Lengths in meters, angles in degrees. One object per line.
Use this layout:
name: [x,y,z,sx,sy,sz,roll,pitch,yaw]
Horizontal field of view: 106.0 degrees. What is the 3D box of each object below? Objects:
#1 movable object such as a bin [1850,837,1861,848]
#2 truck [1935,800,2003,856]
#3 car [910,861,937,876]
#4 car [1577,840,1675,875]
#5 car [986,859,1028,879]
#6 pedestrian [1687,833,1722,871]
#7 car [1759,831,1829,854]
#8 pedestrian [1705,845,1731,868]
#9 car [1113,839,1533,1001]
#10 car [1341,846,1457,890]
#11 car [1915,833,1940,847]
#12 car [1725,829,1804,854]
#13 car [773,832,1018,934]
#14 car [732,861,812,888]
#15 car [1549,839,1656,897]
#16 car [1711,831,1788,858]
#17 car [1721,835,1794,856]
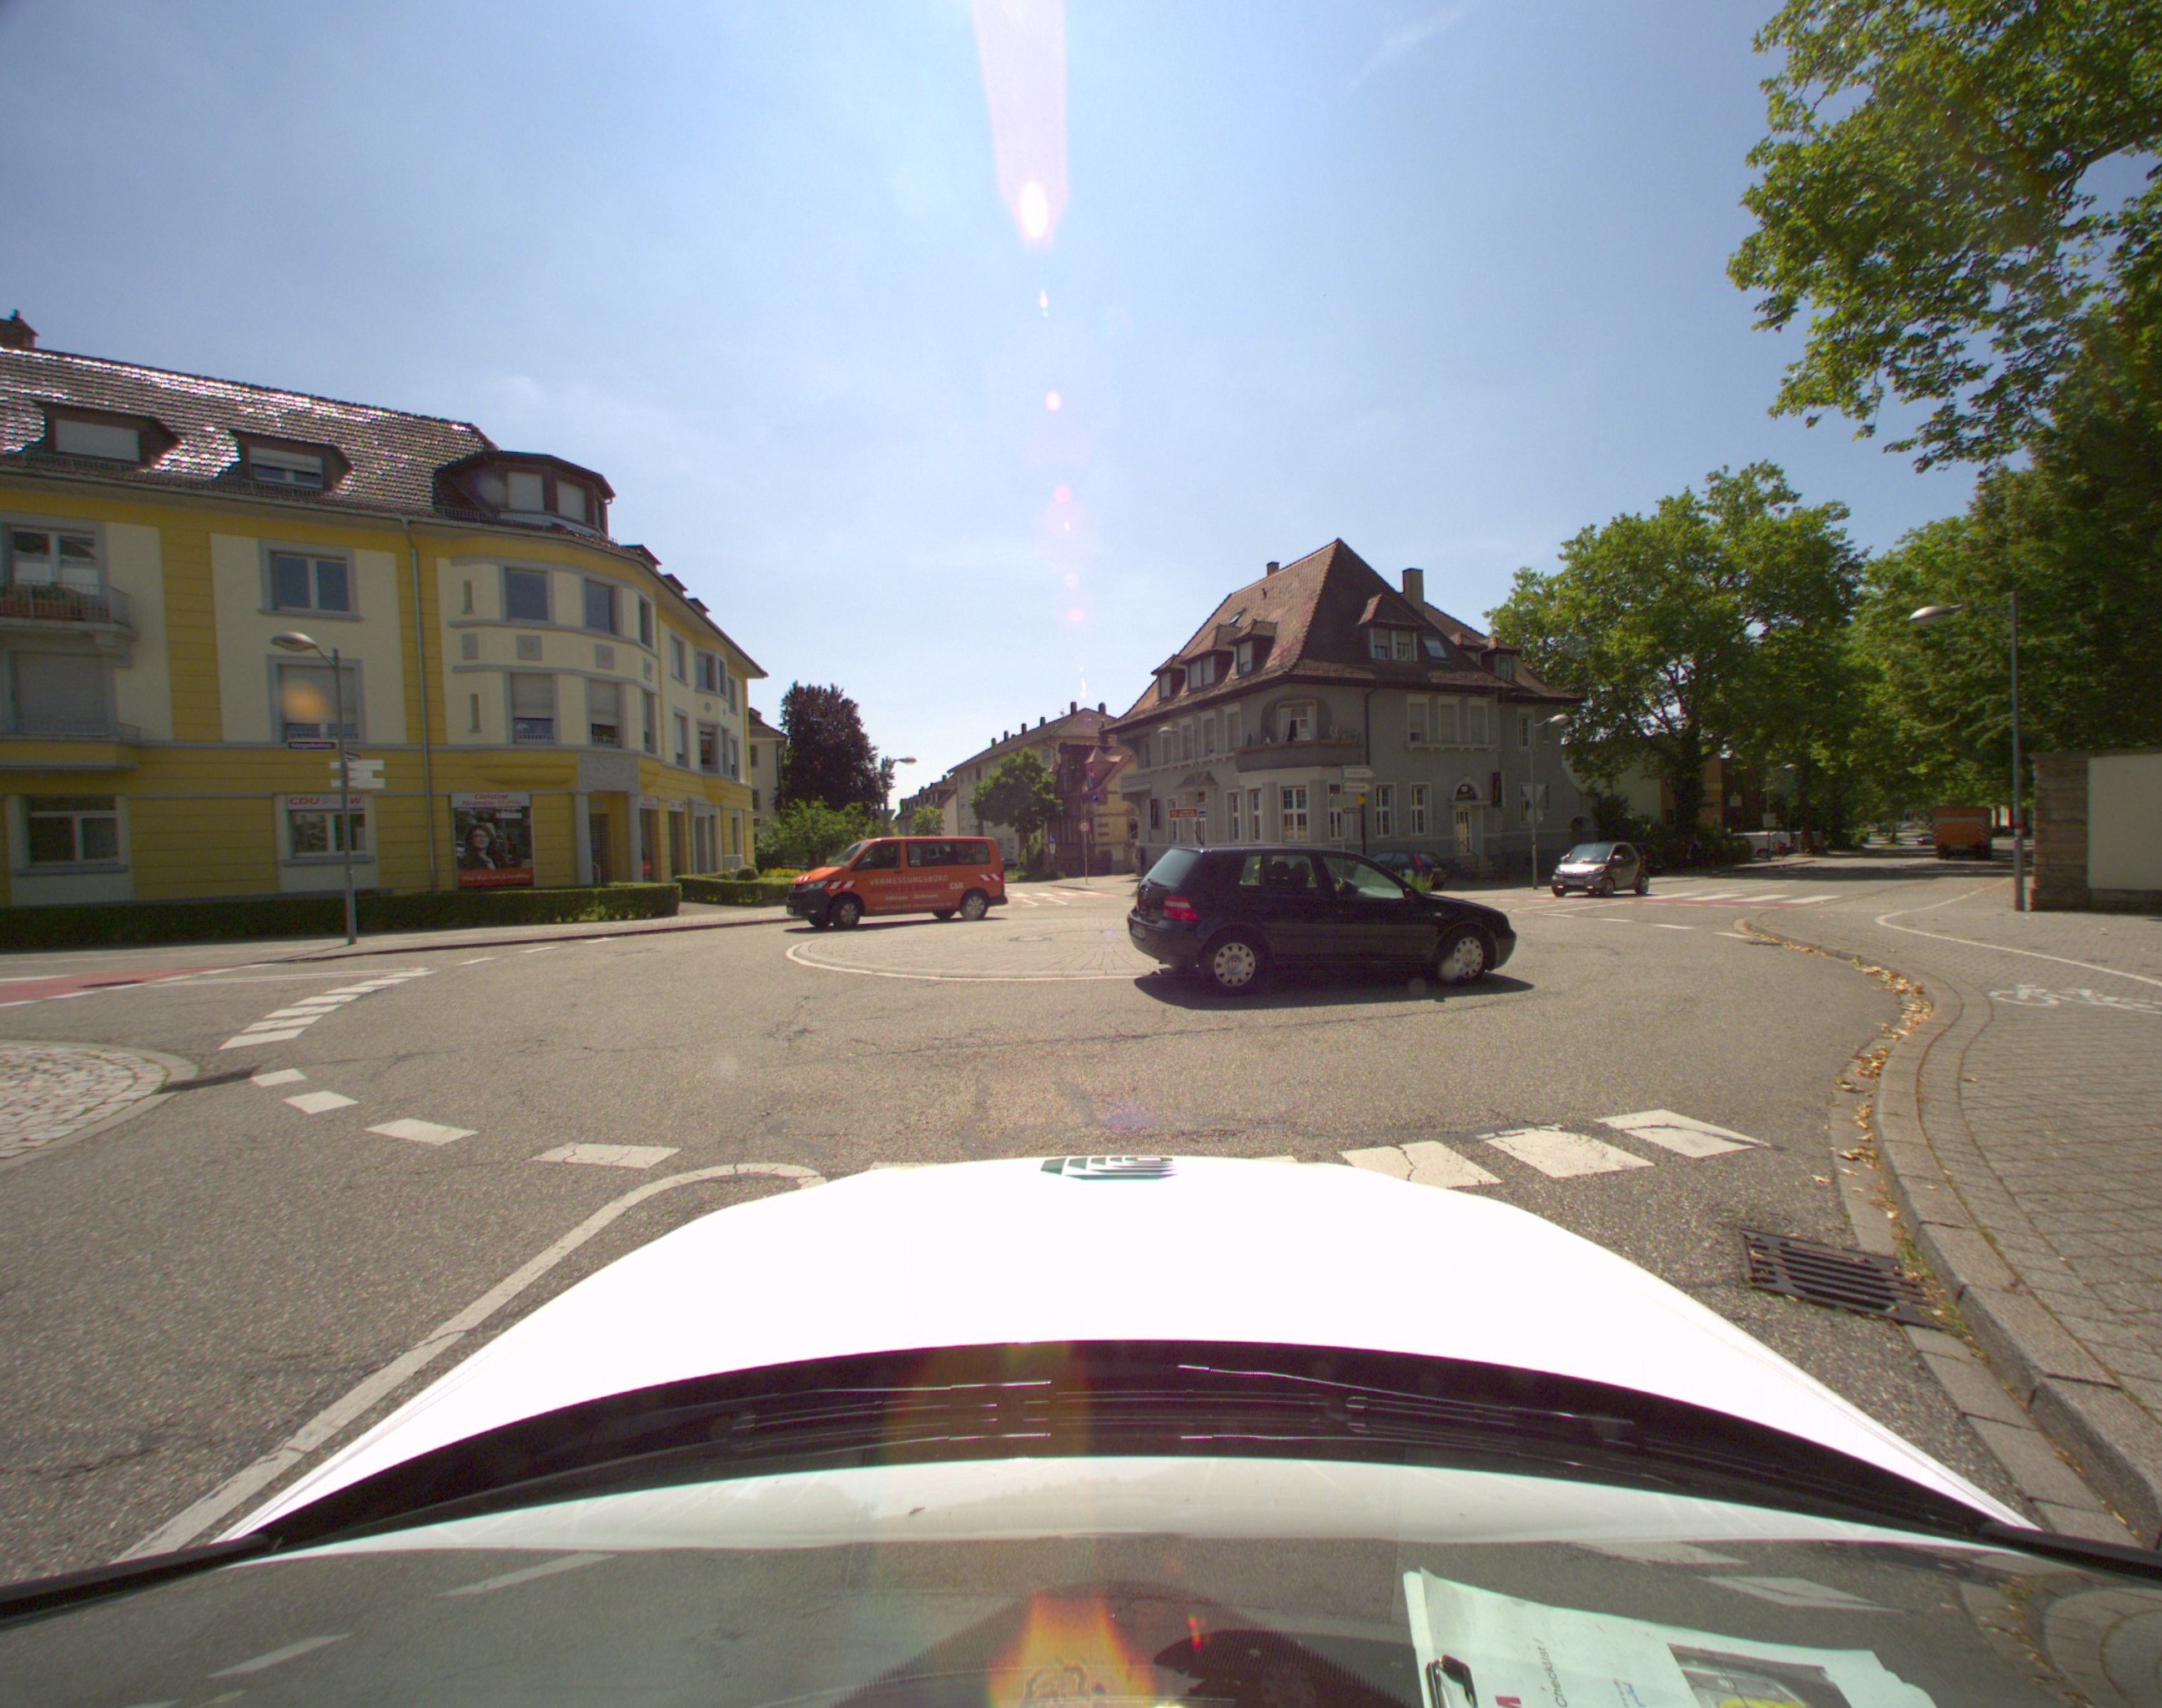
movable object such as a bin: [73.949,-1.119,77.784,0.622,1.048,0.619,-1,0,-31]
truck: [53.378,-1.466,48.897,5.797,3.134,2.351,0,-1,-39]
car: [-17.352,1.563,89.751,2.003,1.509,4.383,-1,0,-24]
car: [25.374,0.167,38.025,1.728,1.546,3.361,-1,0,-28]
car: [-5.952,1.197,64.723,2.003,1.509,4.383,-1,0,-24]
pedestrian: [28.822,-0.101,37.664,1.115,1.742,0.867,-1,-1,-27]
car: [58.894,-0.983,67.315,1.913,1.804,4.093,-1,2,-41]
pedestrian: [31.451,0.111,40.212,0.901,1.122,0.748,-1,-1,-36]
car: [2.505,0.590,8.808,4.046,1.447,1.710,-1,1,-11]
car: [11.646,0.500,30.018,1.728,1.460,3.758,-1,0,-28]
car: [94.167,-1.561,90.625,4.416,1.426,1.753,-1,0,-42]
car: [52.340,-0.966,62.416,1.913,1.804,4.385,-1,2,-41]
car: [-4.130,0.545,18.546,5.041,1.959,1.930,-2,1,-34]
car: [-19.336,1.242,51.024,4.433,1.509,1.981,-1,0,-30]
car: [14.933,0.367,23.320,2.799,1.530,1.554,-1,0,-33]
car: [47.115,-0.700,57.464,1.878,1.792,3.953,-1,2,-41]
car: [50.372,-0.686,60.662,1.878,1.515,3.953,-1,2,-41]
